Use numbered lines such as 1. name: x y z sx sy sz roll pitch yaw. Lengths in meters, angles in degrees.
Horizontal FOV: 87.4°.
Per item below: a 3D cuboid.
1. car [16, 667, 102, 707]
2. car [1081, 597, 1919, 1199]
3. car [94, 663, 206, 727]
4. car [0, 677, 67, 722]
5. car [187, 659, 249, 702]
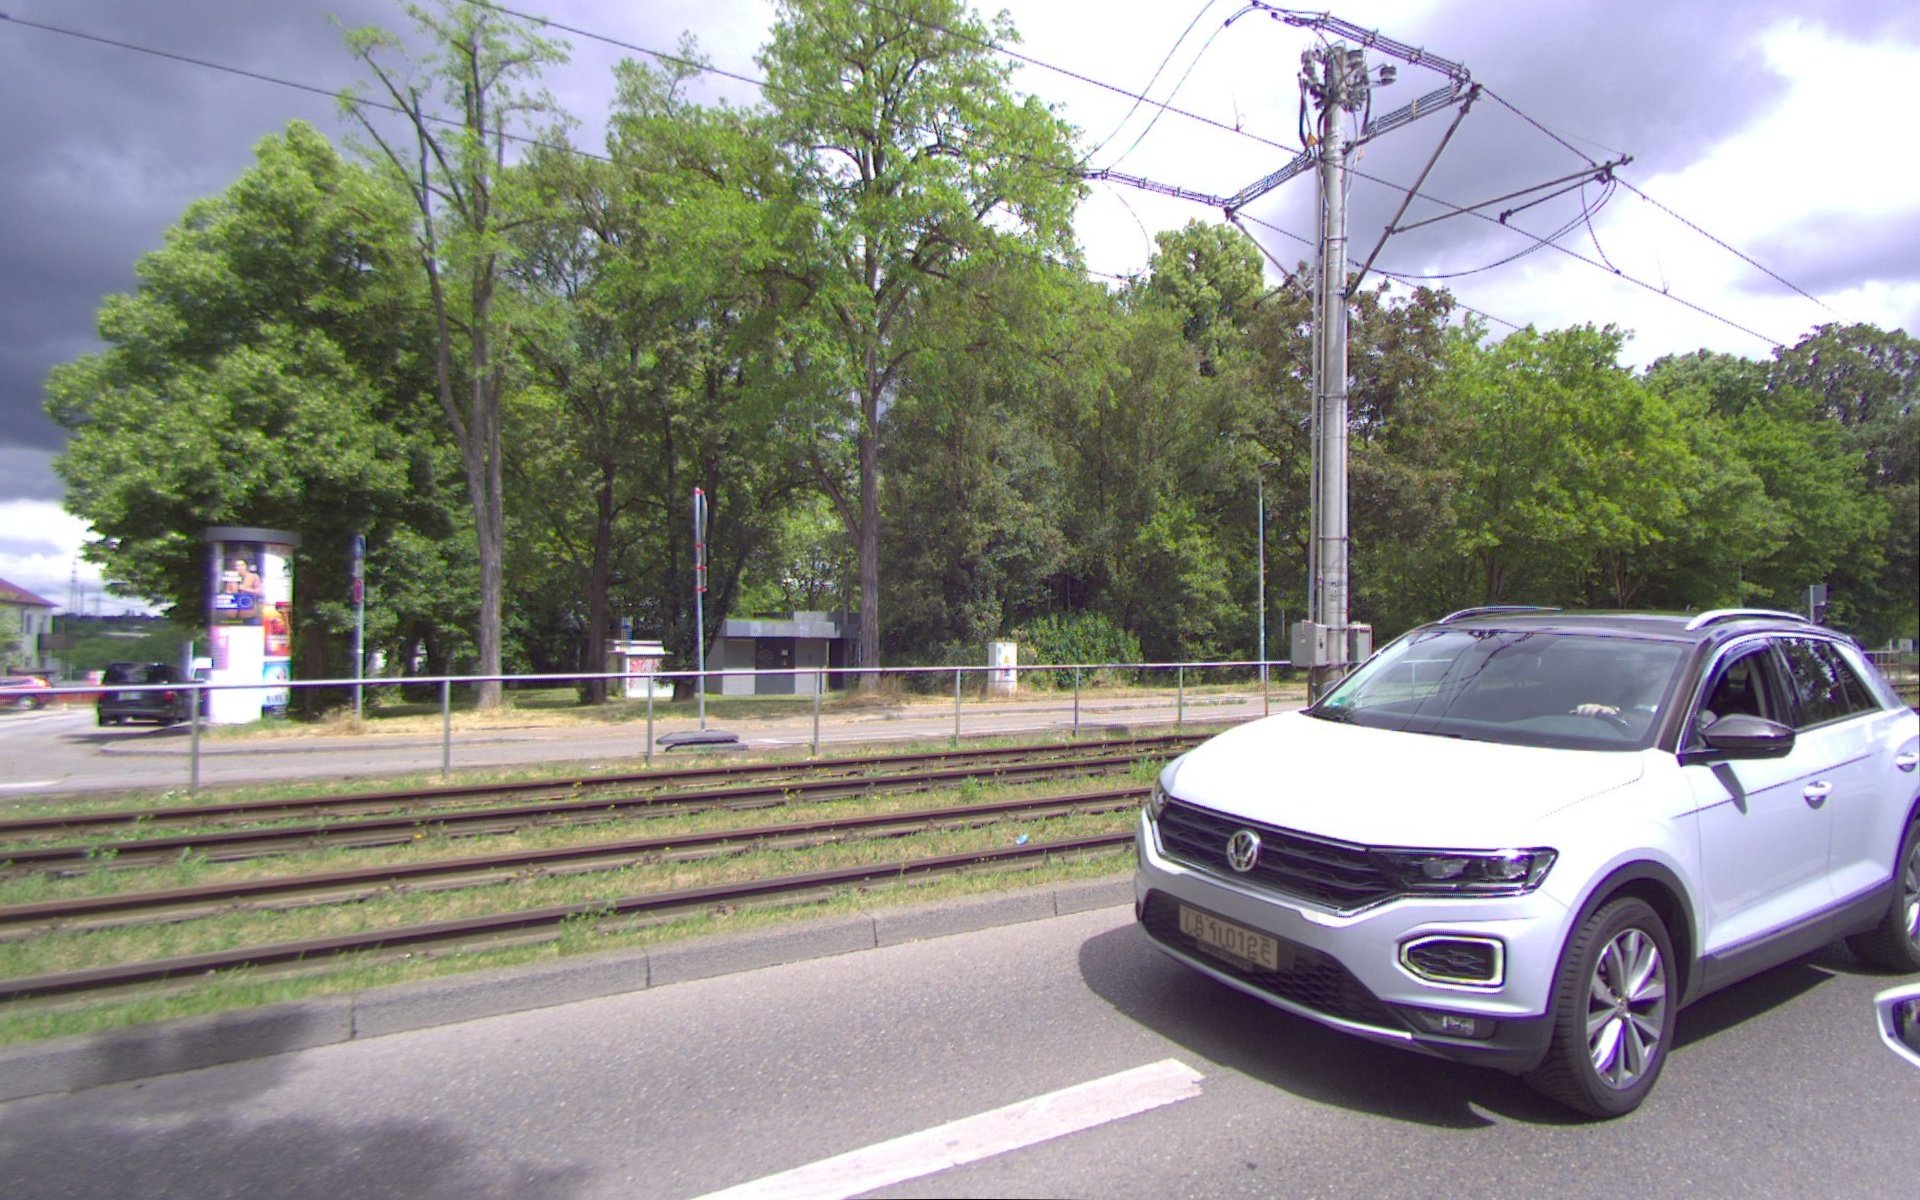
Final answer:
1. car: -51.992 4.997 58.050 3.597 2.040 1.941 2 -1 -41
2. car: 2.608 0.795 4.324 3.955 1.565 1.707 1 0 -32
3. car: -25.368 2.940 31.622 1.976 1.882 3.972 2 -5 -29
4. car: -47.515 4.976 50.449 3.584 2.040 1.948 2 -1 -31
5. car: -38.412 4.137 52.127 1.976 2.129 3.972 2 -5 -29
